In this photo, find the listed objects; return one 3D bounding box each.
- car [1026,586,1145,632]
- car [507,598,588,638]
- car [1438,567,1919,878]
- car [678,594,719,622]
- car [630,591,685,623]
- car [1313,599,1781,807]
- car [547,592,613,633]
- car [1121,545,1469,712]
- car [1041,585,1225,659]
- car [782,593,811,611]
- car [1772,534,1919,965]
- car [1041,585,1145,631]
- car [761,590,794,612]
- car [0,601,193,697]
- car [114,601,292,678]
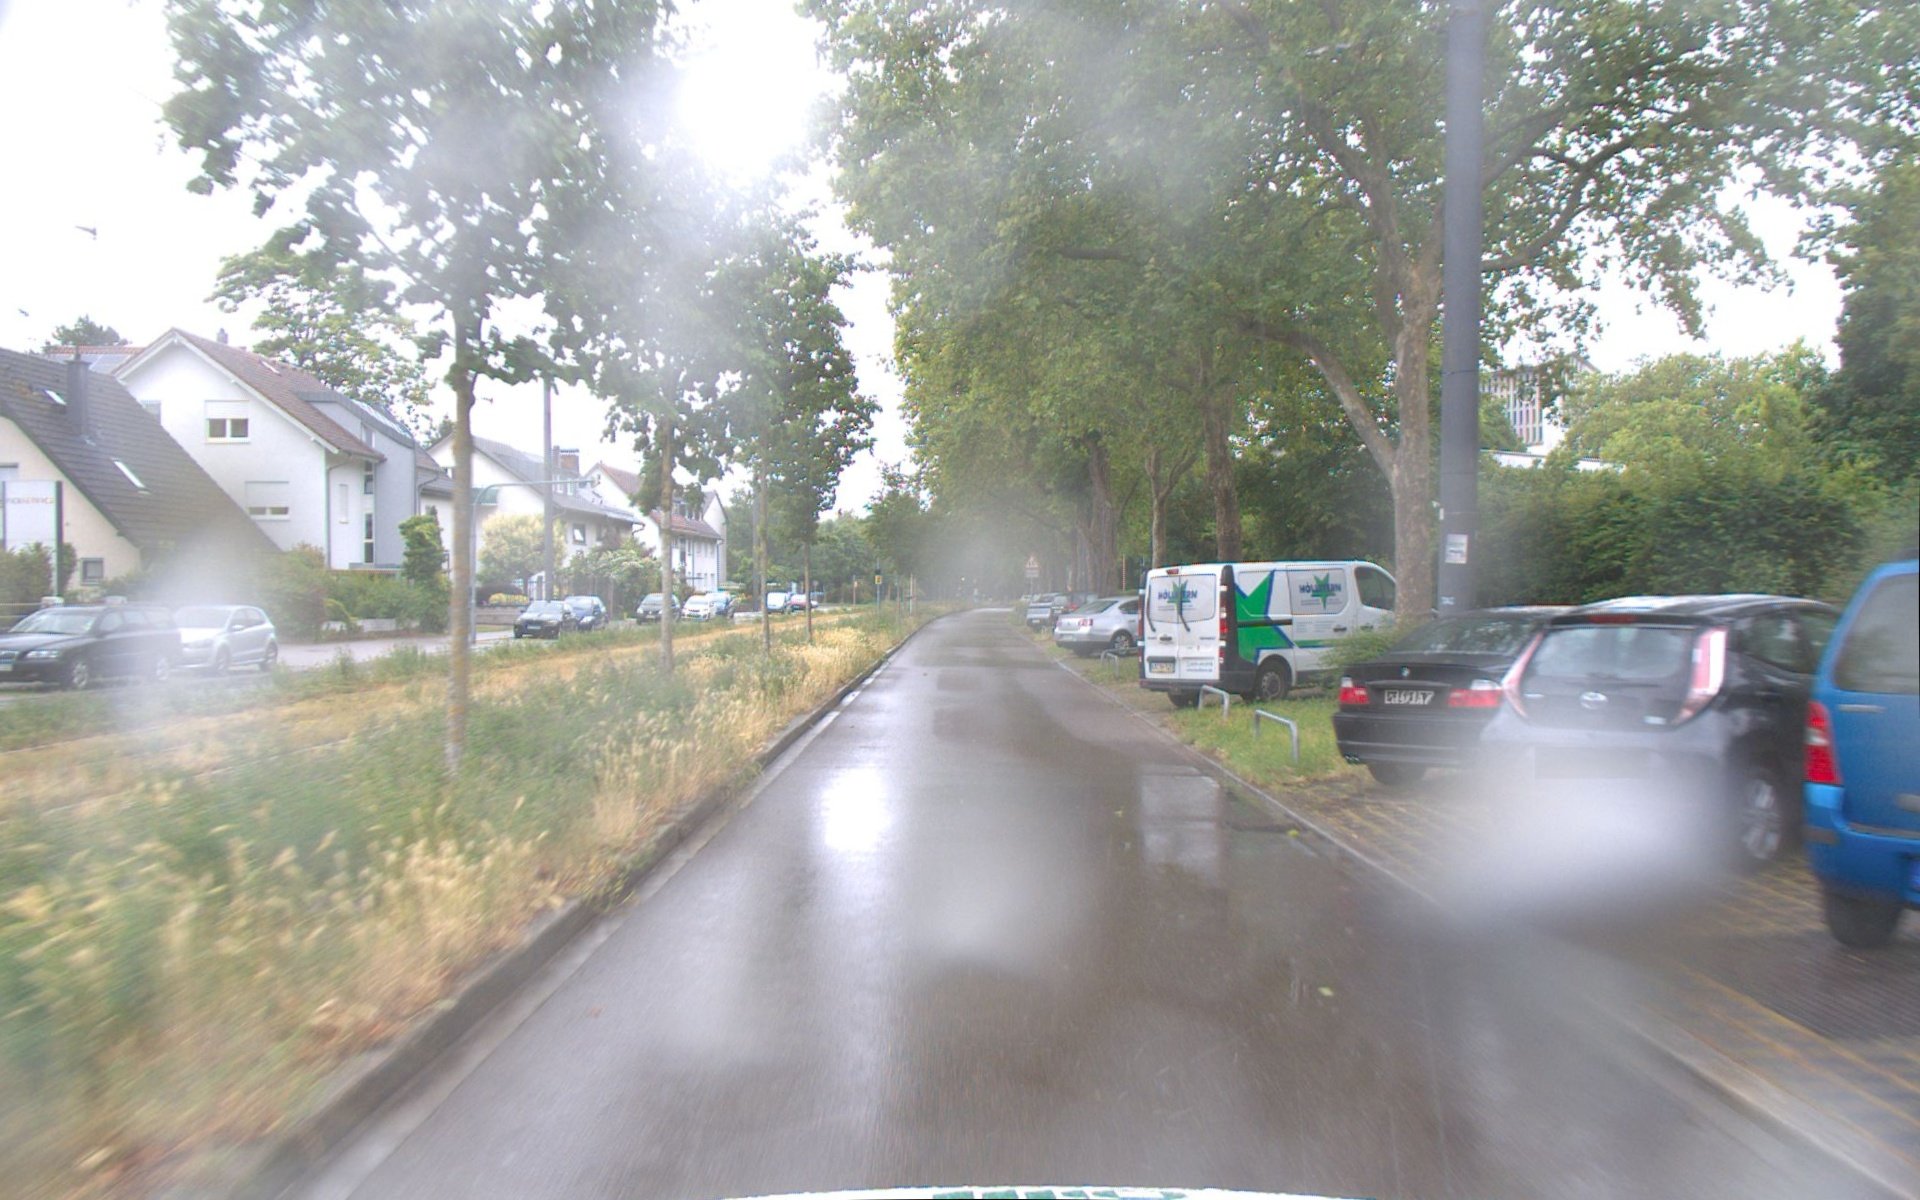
[{"bbox_3d":[5.133,0.347,67.452,4.724,1.697,1.969,-2,1,-37],"label":"car"},{"bbox_3d":[-15.887,0.678,63.862,1.952,1.374,4.241,2,1,1],"label":"car"},{"bbox_3d":[4.779,0.621,10.288,3.370,1.544,1.825,-2,0,-38],"label":"car"},{"bbox_3d":[-15.442,0.464,97.765,1.759,1.514,3.598,1,1,1],"label":"car"},{"bbox_3d":[-15.700,0.351,86.067,1.952,1.542,4.206,1,1,1],"label":"car"},{"bbox_3d":[4.878,0.710,13.464,4.266,1.408,1.716,0,0,-40],"label":"car"},{"bbox_3d":[-15.794,0.487,68.844,1.835,1.577,3.870,1,1,0],"label":"car"},{"bbox_3d":[4.824,0.311,23.468,4.973,2.048,1.975,-3,2,-36],"label":"car"},{"bbox_3d":[4.464,0.515,42.418,4.504,1.571,1.867,-4,2,-32],"label":"car"},{"bbox_3d":[-14.033,0.162,142.151,1.952,1.514,4.206,1,1,1],"label":"car"},{"bbox_3d":[5.222,0.529,7.259,3.237,1.700,1.573,-2,0,-35],"label":"car"},{"bbox_3d":[4.999,0.278,61.927,3.668,1.593,1.601,-2,1,-33],"label":"car"},{"bbox_3d":[-14.151,0.060,128.350,1.952,1.608,4.518,1,1,1],"label":"car"},{"bbox_3d":[-15.793,0.812,29.561,1.952,1.481,4.532,1,1,1],"label":"car"},{"bbox_3d":[-15.953,0.791,35.104,1.953,1.435,3.971,1,1,-1],"label":"car"}]
